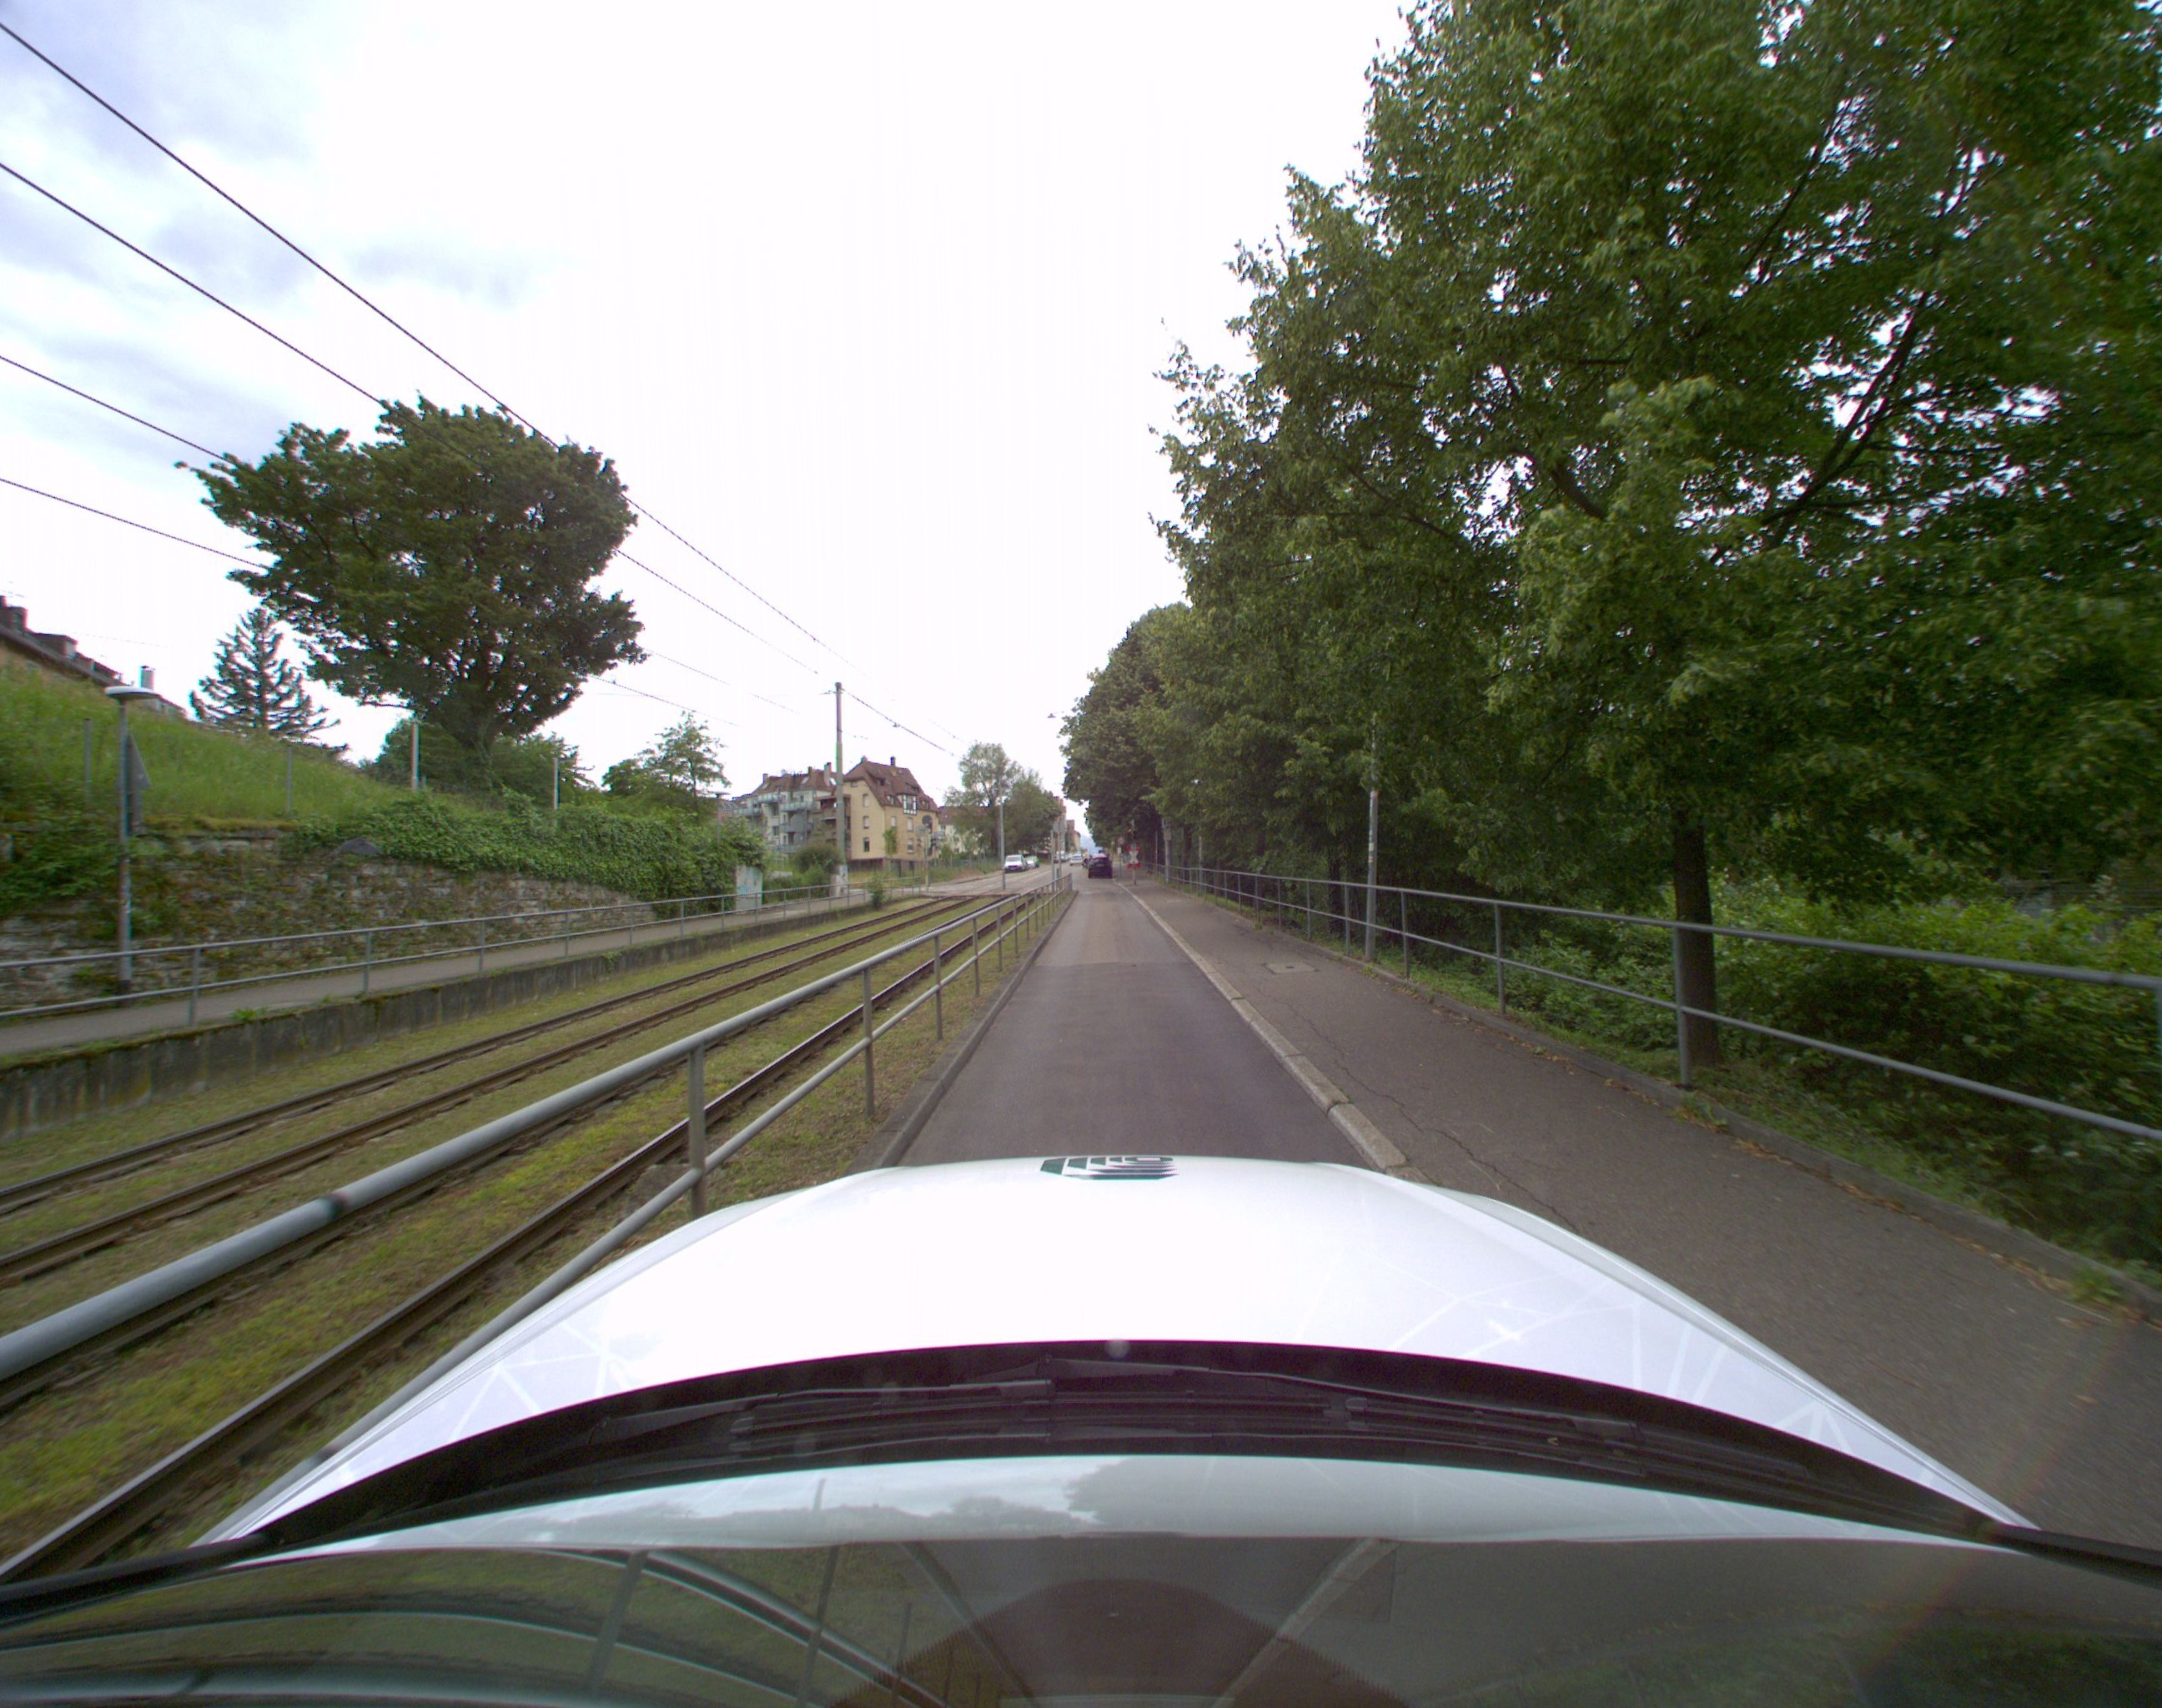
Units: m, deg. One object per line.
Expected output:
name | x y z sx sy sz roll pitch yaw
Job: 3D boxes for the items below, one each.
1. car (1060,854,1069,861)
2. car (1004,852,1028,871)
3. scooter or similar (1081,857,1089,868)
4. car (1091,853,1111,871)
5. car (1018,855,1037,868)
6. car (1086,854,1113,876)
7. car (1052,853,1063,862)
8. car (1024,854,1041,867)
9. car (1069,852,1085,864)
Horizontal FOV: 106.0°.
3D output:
car | -3.979 0.856 193.014 1.987 1.600 4.310 -1 -1 -1
car | -6.989 0.818 87.538 2.029 1.881 4.885 -4 -1 0
scooter or similar | 0.435 0.976 89.415 0.835 1.196 0.806 -1 -1 -4
car | 1.867 0.751 77.575 1.720 1.631 4.088 2 0 0
car | -6.640 0.882 101.951 1.878 1.526 4.665 -3 0 1
car | 1.452 0.803 61.872 1.896 1.615 4.603 0 0 3
car | -4.790 0.729 168.211 1.985 1.808 4.003 -1 -1 3
car | -6.409 0.794 107.746 1.717 1.580 4.182 -3 0 2
car | -0.571 0.588 109.253 1.986 1.498 4.313 -1 -1 1
